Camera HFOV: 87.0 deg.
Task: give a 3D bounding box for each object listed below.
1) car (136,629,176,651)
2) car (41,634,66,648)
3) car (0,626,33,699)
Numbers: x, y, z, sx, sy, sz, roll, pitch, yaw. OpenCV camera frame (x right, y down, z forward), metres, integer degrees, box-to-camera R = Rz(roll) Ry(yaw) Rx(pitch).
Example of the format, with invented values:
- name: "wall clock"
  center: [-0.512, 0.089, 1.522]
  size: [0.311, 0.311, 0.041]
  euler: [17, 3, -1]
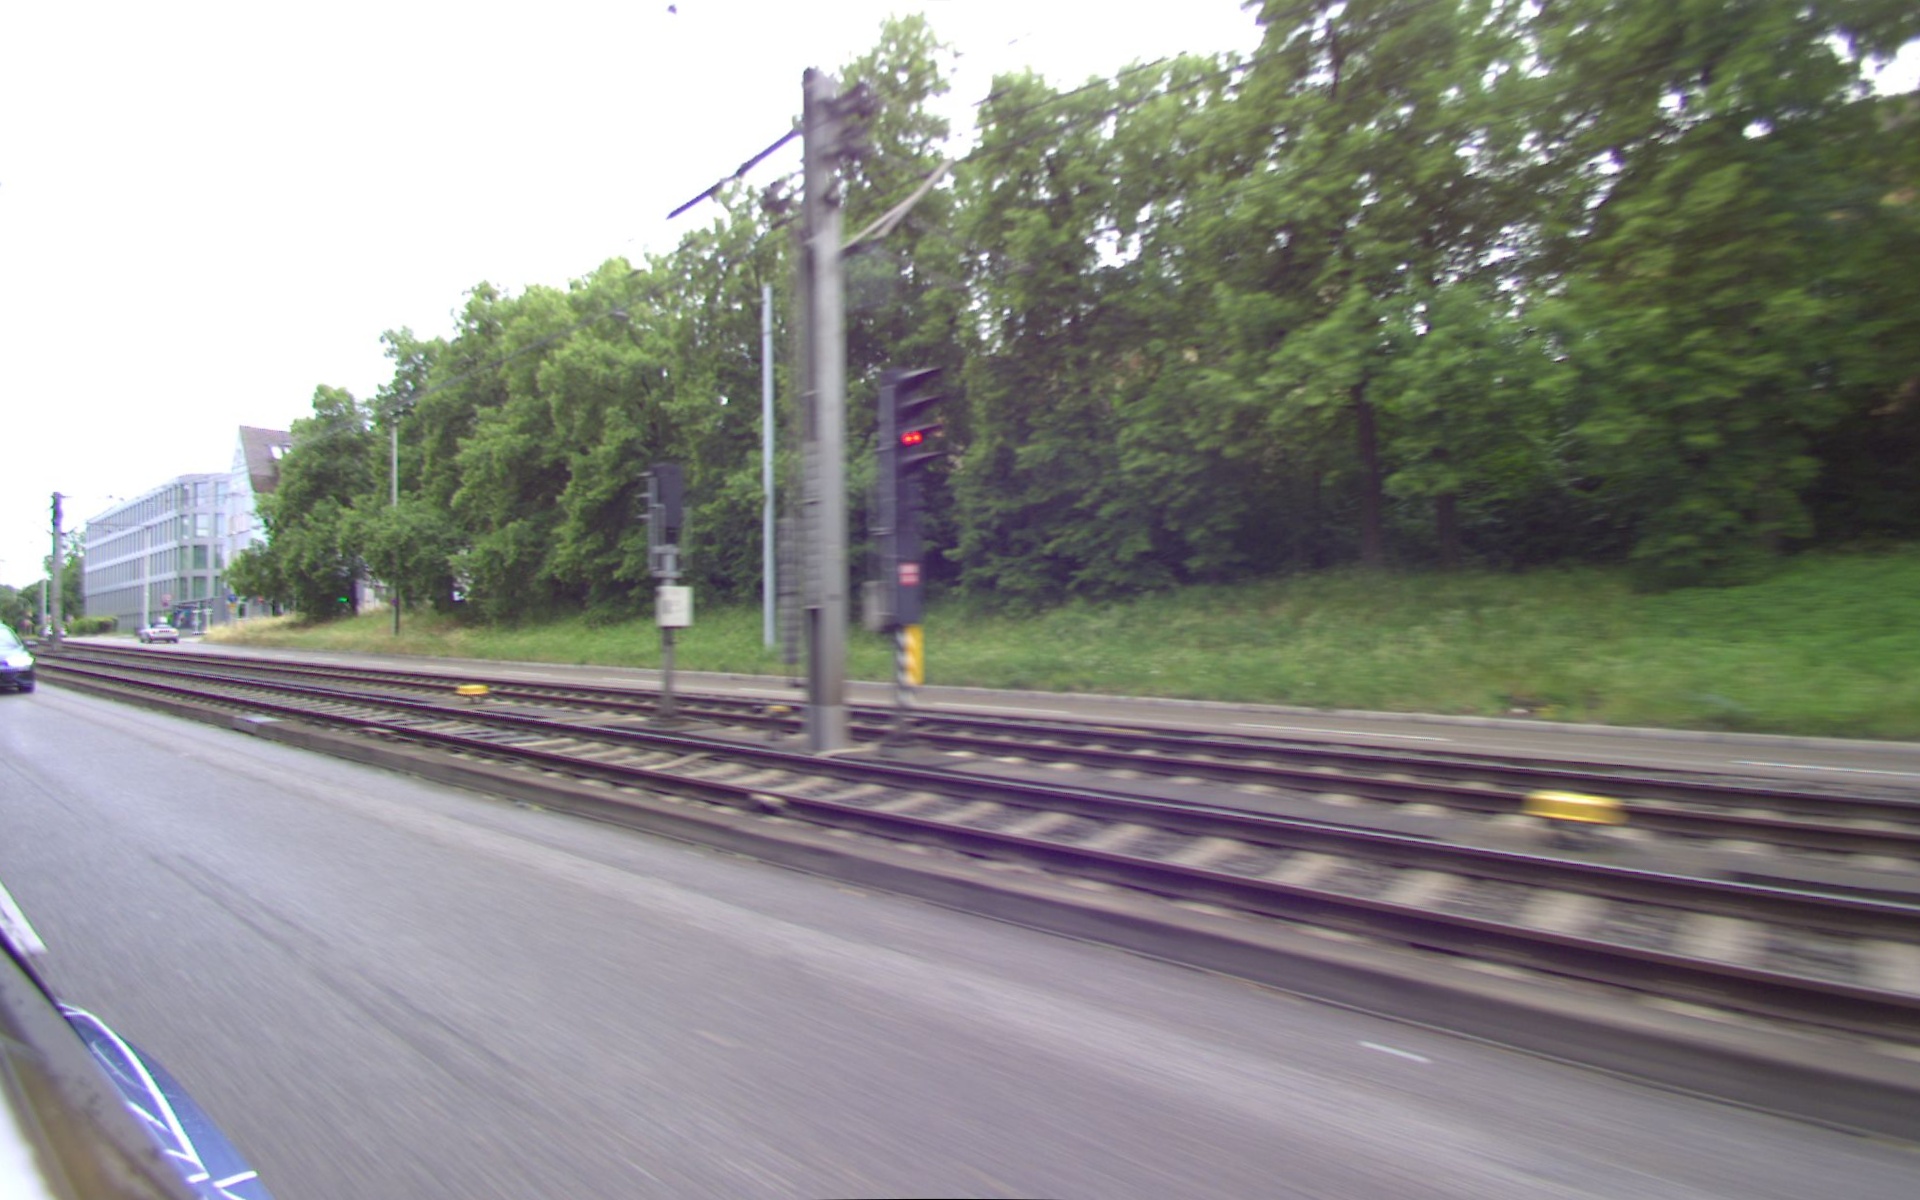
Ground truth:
- name: "car"
  center: [-56.471, 2.797, 71.074]
  size: [3.908, 1.447, 1.460]
  euler: [-2, -4, 42]
- name: "car"
  center: [-103.845, 4.691, 115.891]
  size: [4.379, 1.541, 1.635]
  euler: [-2, -2, 42]
- name: "car"
  center: [-20.714, 1.275, 21.014]
  size: [3.831, 1.459, 1.747]
  euler: [-2, -2, 41]
